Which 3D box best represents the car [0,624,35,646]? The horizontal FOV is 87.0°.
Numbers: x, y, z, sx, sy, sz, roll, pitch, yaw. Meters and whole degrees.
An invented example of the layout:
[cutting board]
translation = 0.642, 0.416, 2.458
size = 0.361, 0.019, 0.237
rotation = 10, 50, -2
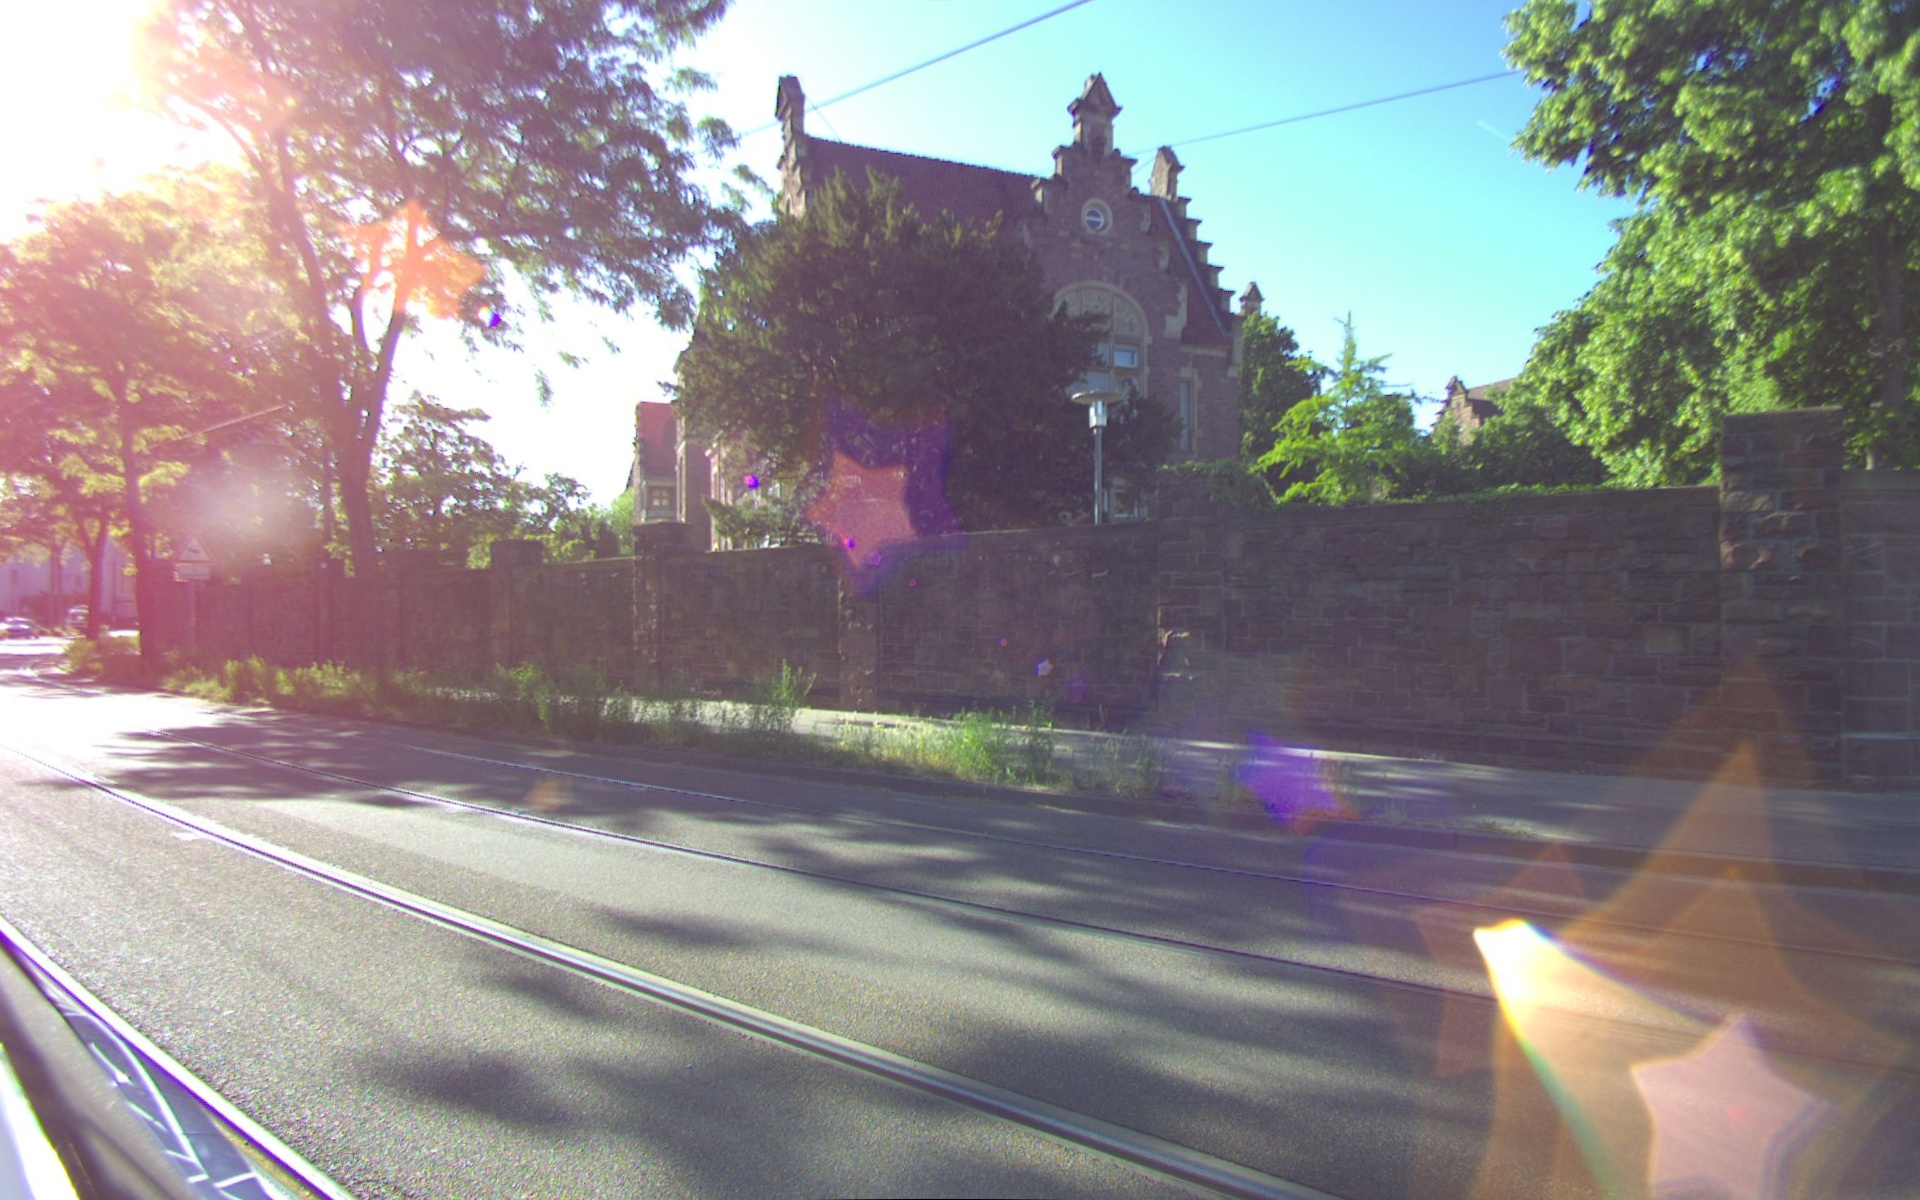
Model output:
[car]
translation = -68.904, 2.524, 73.831
size = 1.969, 1.560, 4.005
rotation = 0, -1, -41
